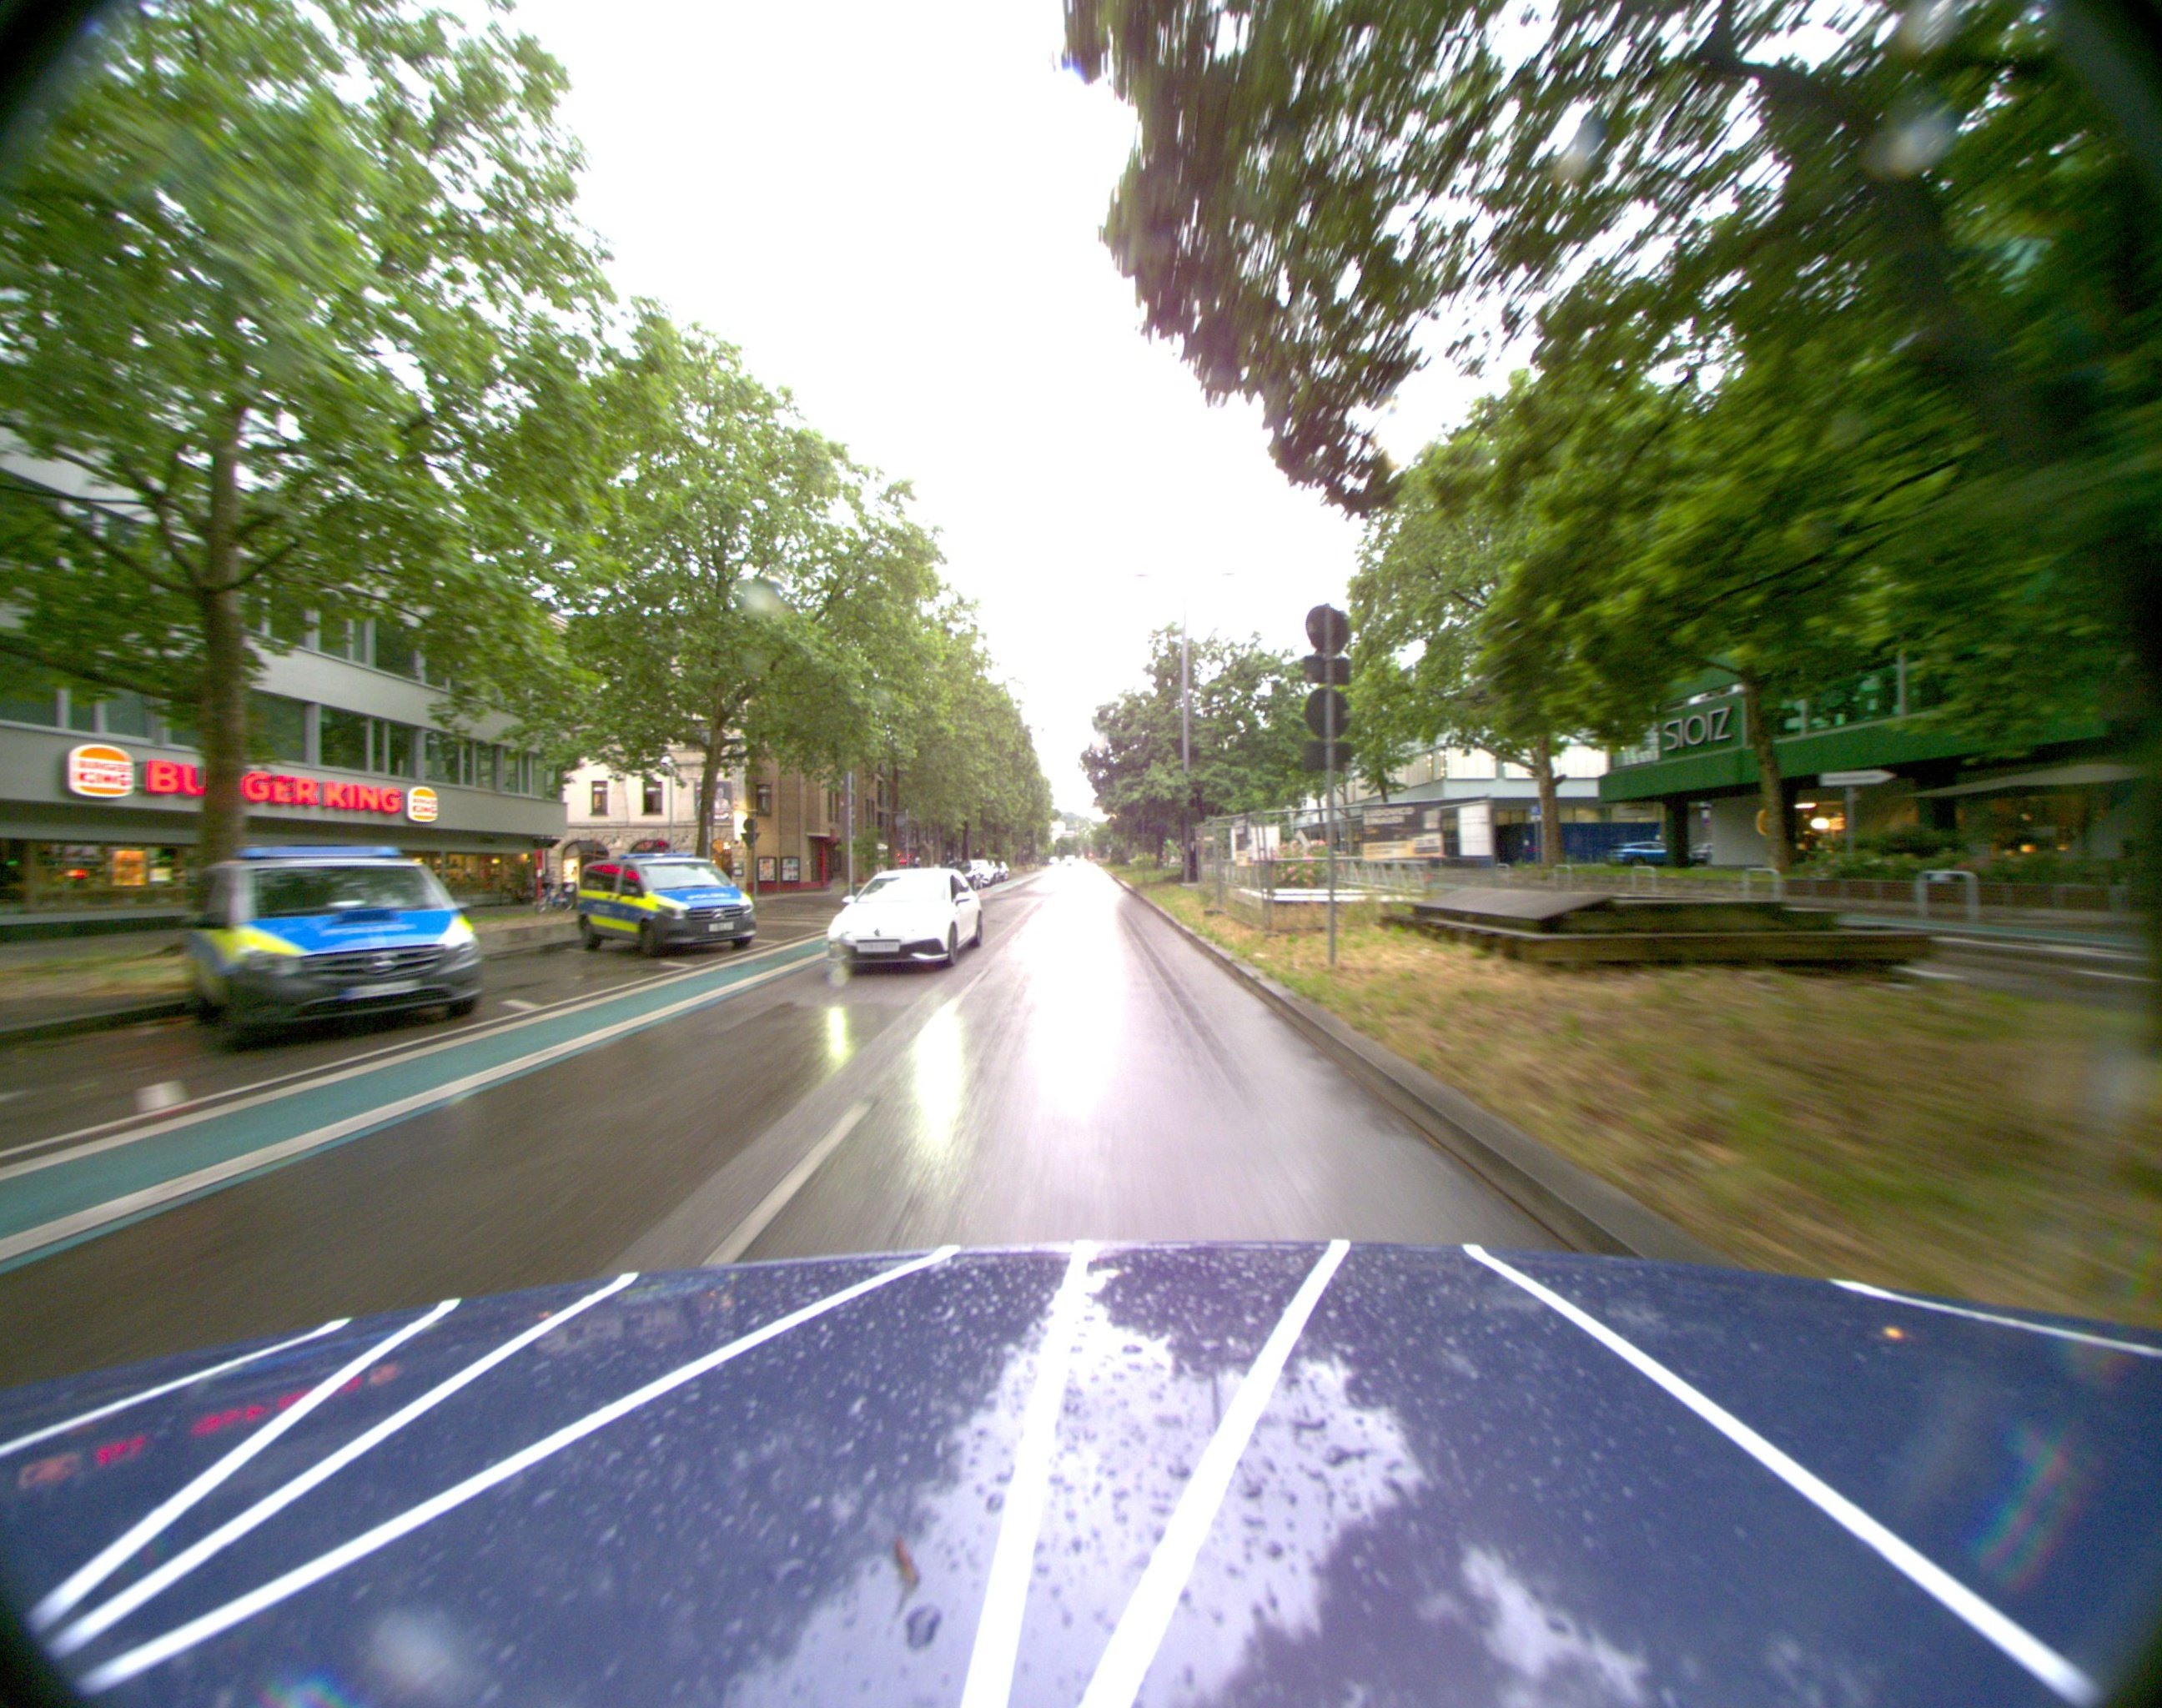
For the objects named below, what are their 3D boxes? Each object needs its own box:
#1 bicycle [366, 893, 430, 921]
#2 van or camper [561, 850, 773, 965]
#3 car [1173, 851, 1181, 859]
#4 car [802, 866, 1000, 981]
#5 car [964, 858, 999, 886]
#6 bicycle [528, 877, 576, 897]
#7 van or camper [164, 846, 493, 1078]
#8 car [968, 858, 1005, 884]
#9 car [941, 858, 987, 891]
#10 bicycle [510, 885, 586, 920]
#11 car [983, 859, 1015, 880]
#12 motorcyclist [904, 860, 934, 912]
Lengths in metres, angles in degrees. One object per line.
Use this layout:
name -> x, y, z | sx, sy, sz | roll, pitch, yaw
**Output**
bicycle -> -23.161, 1.794, 25.817 | 0.643, 0.814, 1.912 | -1, 0, -8
van or camper -> -8.622, 0.999, 15.646 | 4.933, 1.980, 2.006 | -2, 1, 39
car -> 16.710, 0.163, 132.664 | 1.163, 1.454, 3.561 | -1, 0, 3
car -> -2.697, 0.989, 12.586 | 1.865, 1.436, 4.510 | -2, 0, 4
car -> -5.975, 1.050, 46.099 | 1.756, 1.576, 4.409 | -2, 0, -4
bicycle -> -25.892, 1.611, 37.207 | 1.971, 0.932, 0.625 | -2, 0, 5
van or camper -> -9.035, 1.024, 8.966 | 5.074, 2.007, 2.001 | -2, 0, 37
car -> -6.278, 1.093, 50.943 | 1.999, 1.580, 4.559 | -2, 0, -1
car -> -6.216, 1.069, 40.872 | 1.797, 1.593, 4.423 | -2, 0, -1
bicycle -> -17.964, 1.646, 25.671 | 0.642, 0.917, 1.916 | 37, 0, 9
car -> -6.074, 1.137, 56.660 | 1.747, 1.424, 4.586 | -2, 0, 1
motorcyclist -> -5.285, 1.039, 24.760 | 0.850, 1.635, 0.870 | -2, 0, -17
